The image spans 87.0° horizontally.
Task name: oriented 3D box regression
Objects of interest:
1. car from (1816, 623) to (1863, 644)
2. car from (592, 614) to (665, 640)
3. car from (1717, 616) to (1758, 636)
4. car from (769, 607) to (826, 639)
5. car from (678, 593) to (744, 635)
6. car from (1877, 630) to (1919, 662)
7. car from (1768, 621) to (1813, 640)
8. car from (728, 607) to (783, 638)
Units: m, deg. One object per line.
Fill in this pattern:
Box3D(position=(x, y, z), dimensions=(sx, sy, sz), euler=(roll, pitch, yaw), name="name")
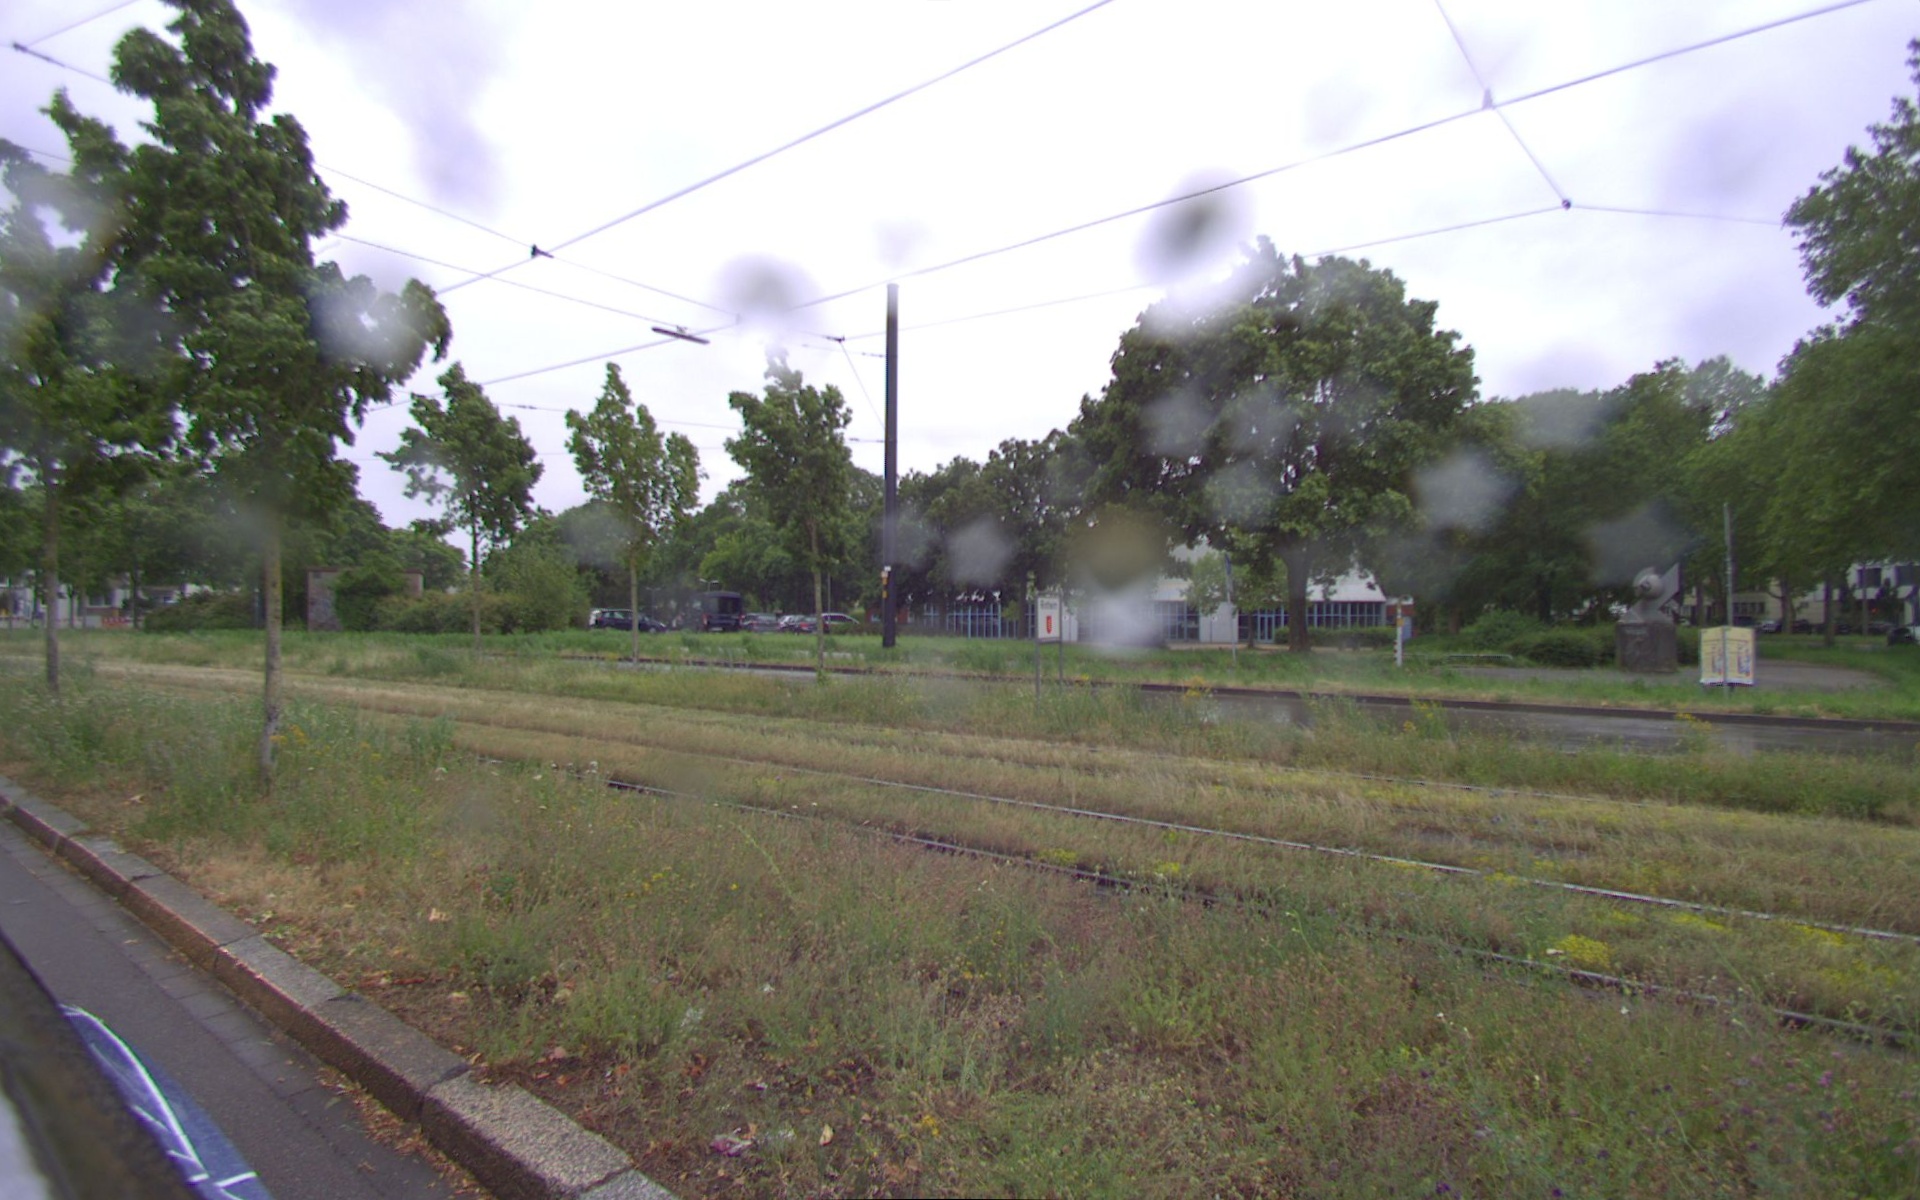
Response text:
Box3D(position=(81.659, 3.094, 94.055), dimensions=(1.986, 1.796, 3.972), euler=(-1, 0, 21), name="car")
Box3D(position=(-20.292, 1.644, 61.889), dimensions=(4.110, 1.494, 1.789), euler=(-1, 0, -23), name="car")
Box3D(position=(86.317, 2.823, 112.403), dimensions=(2.108, 2.104, 3.982), euler=(-1, 0, 14), name="car")
Box3D(position=(-8.789, 1.177, 54.369), dimensions=(2.026, 1.584, 5.032), euler=(-1, 0, -21), name="car")
Box3D(position=(-12.830, 0.701, 51.932), dimensions=(2.273, 2.029, 5.134), euler=(-1, 0, -25), name="car")
Box3D(position=(45.787, 2.160, 48.216), dimensions=(1.794, 1.412, 4.277), euler=(-3, -3, 24), name="car")
Box3D(position=(82.980, 3.015, 101.153), dimensions=(1.982, 1.796, 3.979), euler=(-1, 0, 16), name="car")
Box3D(position=(-10.912, 1.149, 53.705), dimensions=(1.726, 1.542, 4.865), euler=(-1, 0, -25), name="car")
